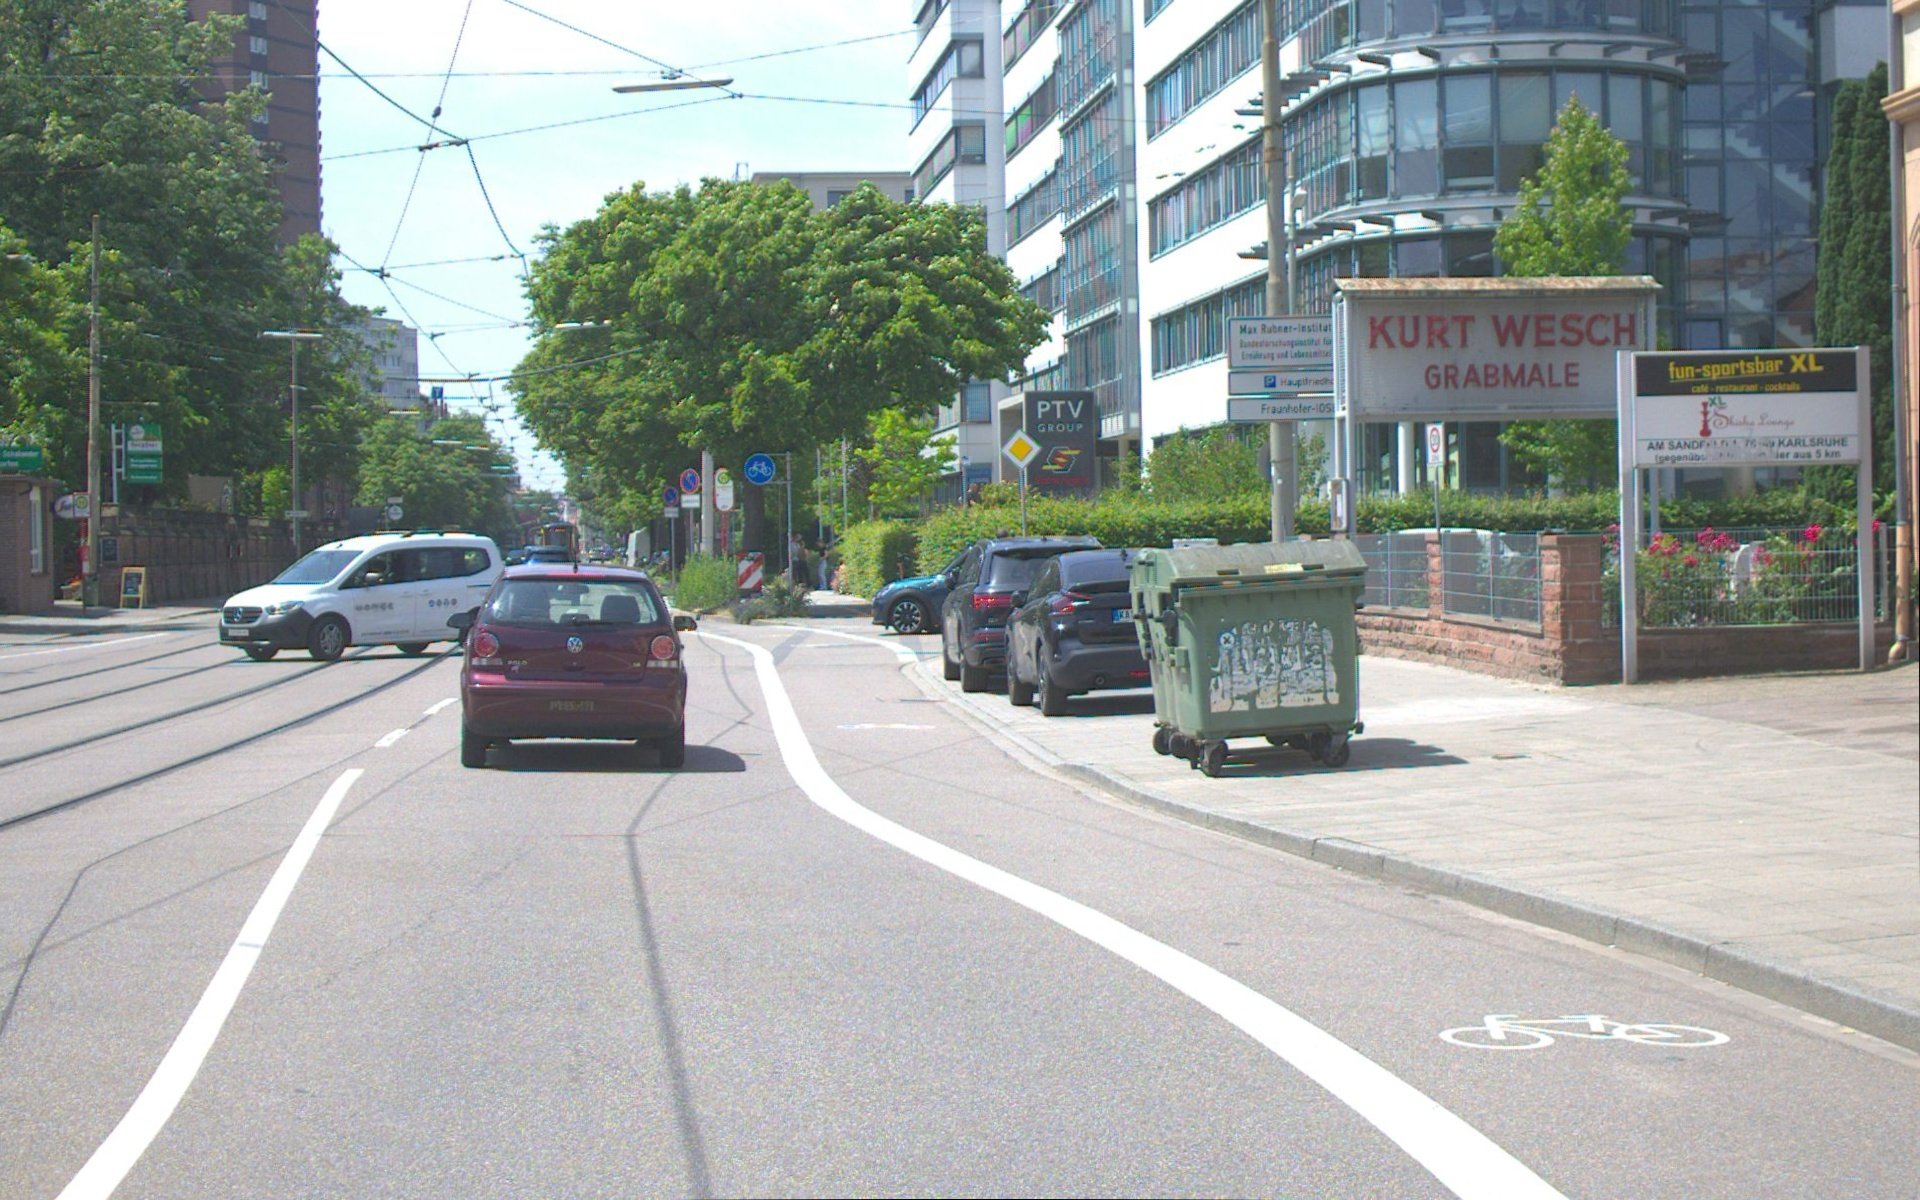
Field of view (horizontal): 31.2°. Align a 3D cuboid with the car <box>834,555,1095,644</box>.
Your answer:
[{"bbox_3d":[0.078,-0.008,56.247,3.917,1.367,1.702,-1,0,19],"label":"car"}]

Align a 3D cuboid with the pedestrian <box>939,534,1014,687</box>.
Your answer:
[{"bbox_3d":[0.209,0.135,44.654,0.780,1.953,0.590,-1,1,-21],"label":"pedestrian"}]

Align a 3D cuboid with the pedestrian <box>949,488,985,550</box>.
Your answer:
[{"bbox_3d":[0.203,-2.285,97.090,0.874,1.709,1.089,-2,0,4],"label":"pedestrian"}]

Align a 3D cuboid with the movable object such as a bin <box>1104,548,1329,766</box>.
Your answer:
[{"bbox_3d":[1.818,0.388,24.532,1.323,1.450,1.058,-3,1,-9],"label":"movable object such as a bin"}]

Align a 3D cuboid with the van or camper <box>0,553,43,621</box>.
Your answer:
[{"bbox_3d":[-24.428,-0.336,83.784,3.783,1.623,1.872,0,2,-6],"label":"van or camper"}]

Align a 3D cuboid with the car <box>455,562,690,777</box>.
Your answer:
[{"bbox_3d":[-2.948,0.468,26.048,1.618,1.481,4.001,0,1,-7],"label":"car"}]

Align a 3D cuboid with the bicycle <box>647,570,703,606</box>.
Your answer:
[{"bbox_3d":[-9.748,-0.422,117.628,1.883,1.178,0.694,-2,0,-6],"label":"bicycle"}]

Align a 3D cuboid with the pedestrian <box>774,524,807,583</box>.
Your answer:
[{"bbox_3d":[-5.309,-1.449,107.604,0.677,1.790,0.674,-3,1,-37],"label":"pedestrian"}]

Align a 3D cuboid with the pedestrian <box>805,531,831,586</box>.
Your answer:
[{"bbox_3d":[-4.466,-1.303,108.358,0.537,1.709,0.565,-3,0,-35],"label":"pedestrian"}]

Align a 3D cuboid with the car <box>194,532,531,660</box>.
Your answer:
[{"bbox_3d":[-8.792,-0.090,50.810,4.540,1.793,1.999,-1,1,-43],"label":"car"}]

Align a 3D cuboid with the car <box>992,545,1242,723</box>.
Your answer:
[{"bbox_3d":[1.463,0.294,33.680,1.772,1.543,4.468,-3,1,-5],"label":"car"}]

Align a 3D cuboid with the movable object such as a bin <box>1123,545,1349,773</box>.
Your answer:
[{"bbox_3d":[1.869,0.387,23.456,1.247,1.450,1.058,-3,1,-9],"label":"movable object such as a bin"}]

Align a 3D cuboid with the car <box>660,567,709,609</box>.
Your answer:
[{"bbox_3d":[-10.411,-0.467,129.707,1.688,1.498,3.628,-3,1,-6],"label":"car"}]

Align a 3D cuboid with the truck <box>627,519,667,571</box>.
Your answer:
[{"bbox_3d":[-16.303,-2.877,178.811,1.993,2.653,4.876,0,1,-6],"label":"truck"}]

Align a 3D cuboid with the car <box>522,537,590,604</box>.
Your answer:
[{"bbox_3d":[-12.562,-0.934,106.765,1.993,2.007,4.001,0,1,-8],"label":"car"}]

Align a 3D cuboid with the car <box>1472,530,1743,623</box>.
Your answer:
[{"bbox_3d":[10.847,-0.402,57.748,4.148,1.454,1.818,-1,1,-2],"label":"car"}]

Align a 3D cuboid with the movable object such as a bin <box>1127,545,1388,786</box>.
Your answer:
[{"bbox_3d":[1.917,0.405,22.348,1.391,1.450,1.139,-3,1,-9],"label":"movable object such as a bin"}]

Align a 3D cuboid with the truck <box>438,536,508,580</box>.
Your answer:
[{"bbox_3d":[-31.529,-2.746,222.857,2.370,2.777,7.317,-1,1,10],"label":"truck"}]

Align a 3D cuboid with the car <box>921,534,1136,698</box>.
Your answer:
[{"bbox_3d":[0.712,0.139,39.809,1.924,1.687,5.083,-3,1,-4],"label":"car"}]
